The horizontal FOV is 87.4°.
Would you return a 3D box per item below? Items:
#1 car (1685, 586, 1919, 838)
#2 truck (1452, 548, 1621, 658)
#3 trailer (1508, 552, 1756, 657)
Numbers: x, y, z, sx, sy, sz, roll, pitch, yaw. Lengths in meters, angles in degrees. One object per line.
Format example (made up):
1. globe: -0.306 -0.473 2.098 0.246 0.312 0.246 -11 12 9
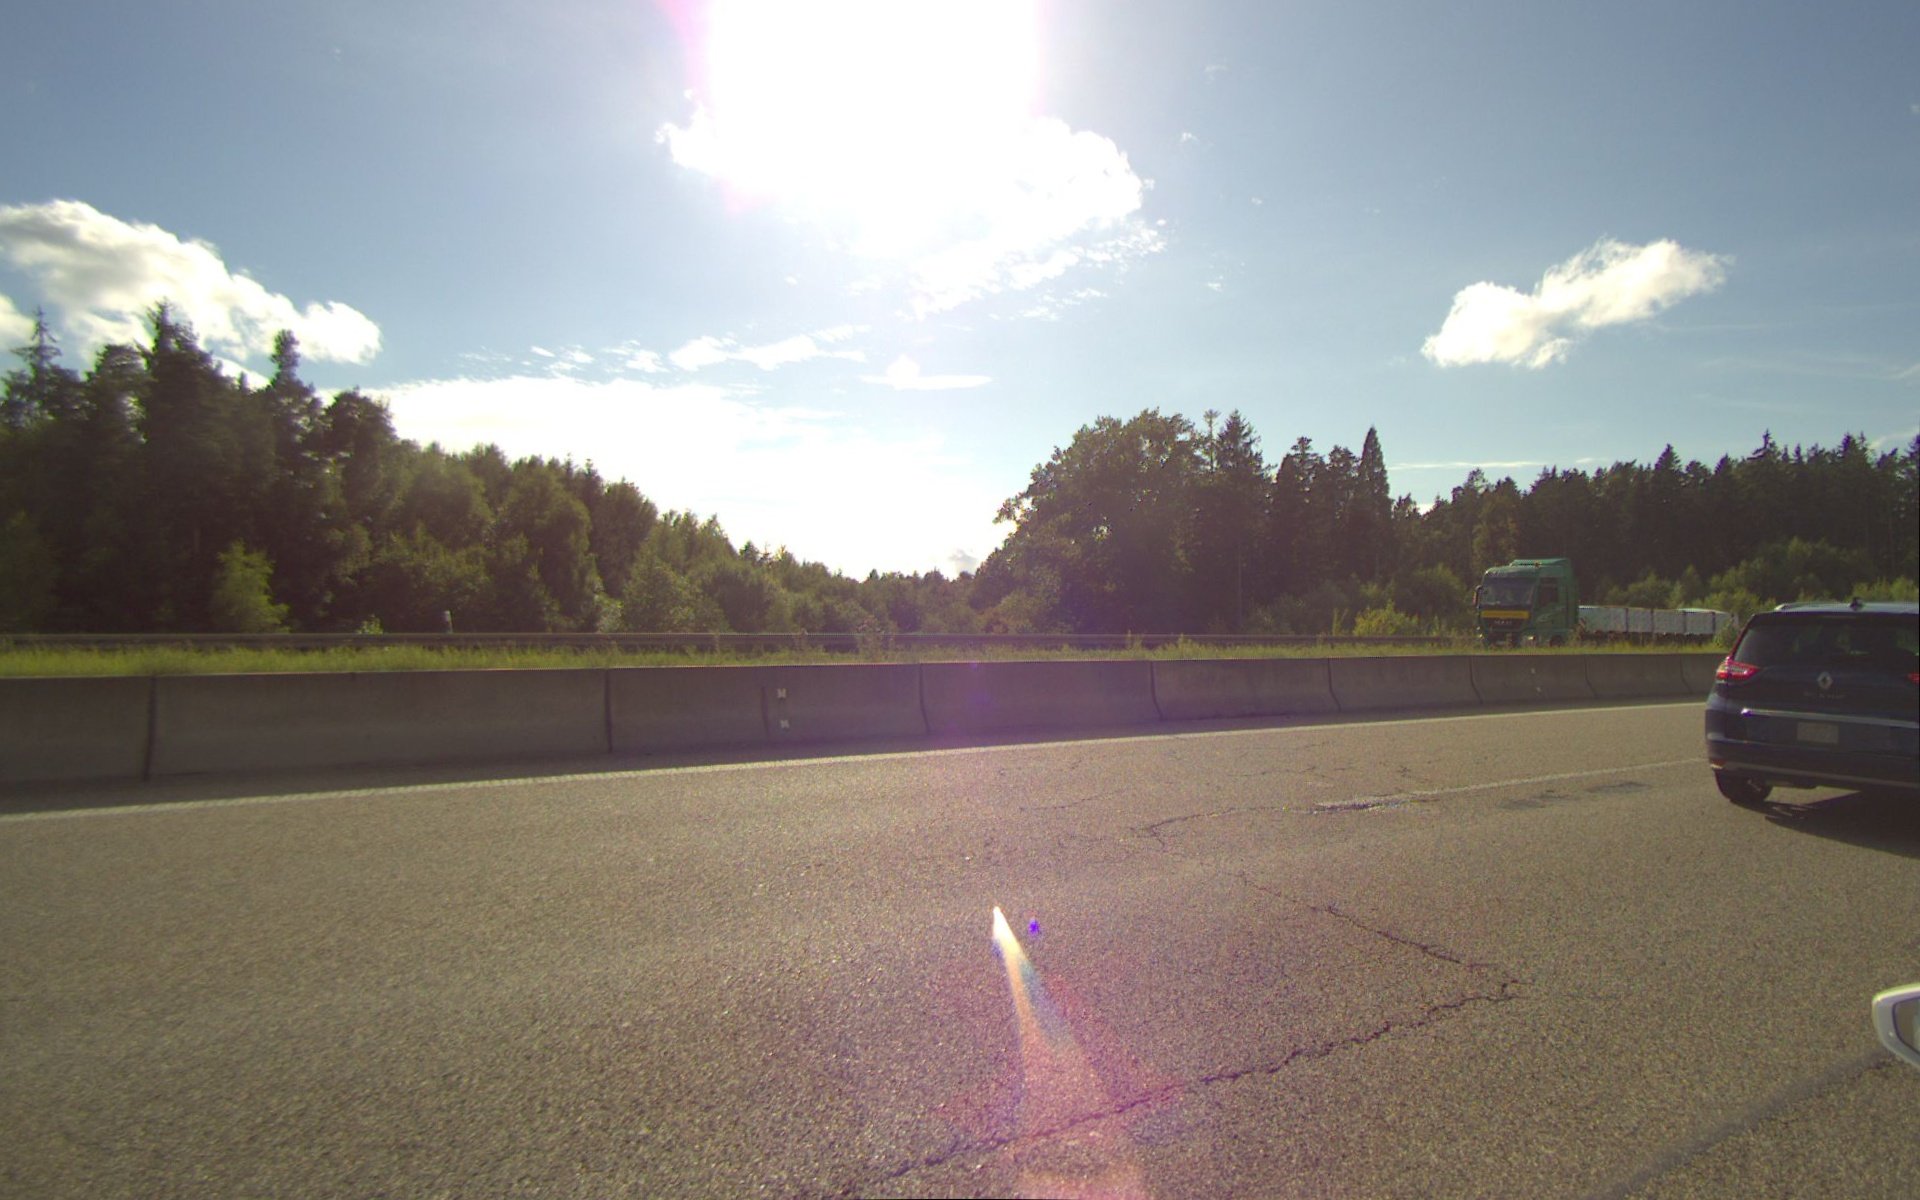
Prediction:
1. car: 8.305 0.811 8.439 4.477 1.729 1.984 1 0 -31
2. truck: 22.934 0.160 39.952 5.793 4.062 3.360 1 0 -30
3. trailer: 29.510 0.297 43.748 13.477 4.062 3.360 1 0 -30
